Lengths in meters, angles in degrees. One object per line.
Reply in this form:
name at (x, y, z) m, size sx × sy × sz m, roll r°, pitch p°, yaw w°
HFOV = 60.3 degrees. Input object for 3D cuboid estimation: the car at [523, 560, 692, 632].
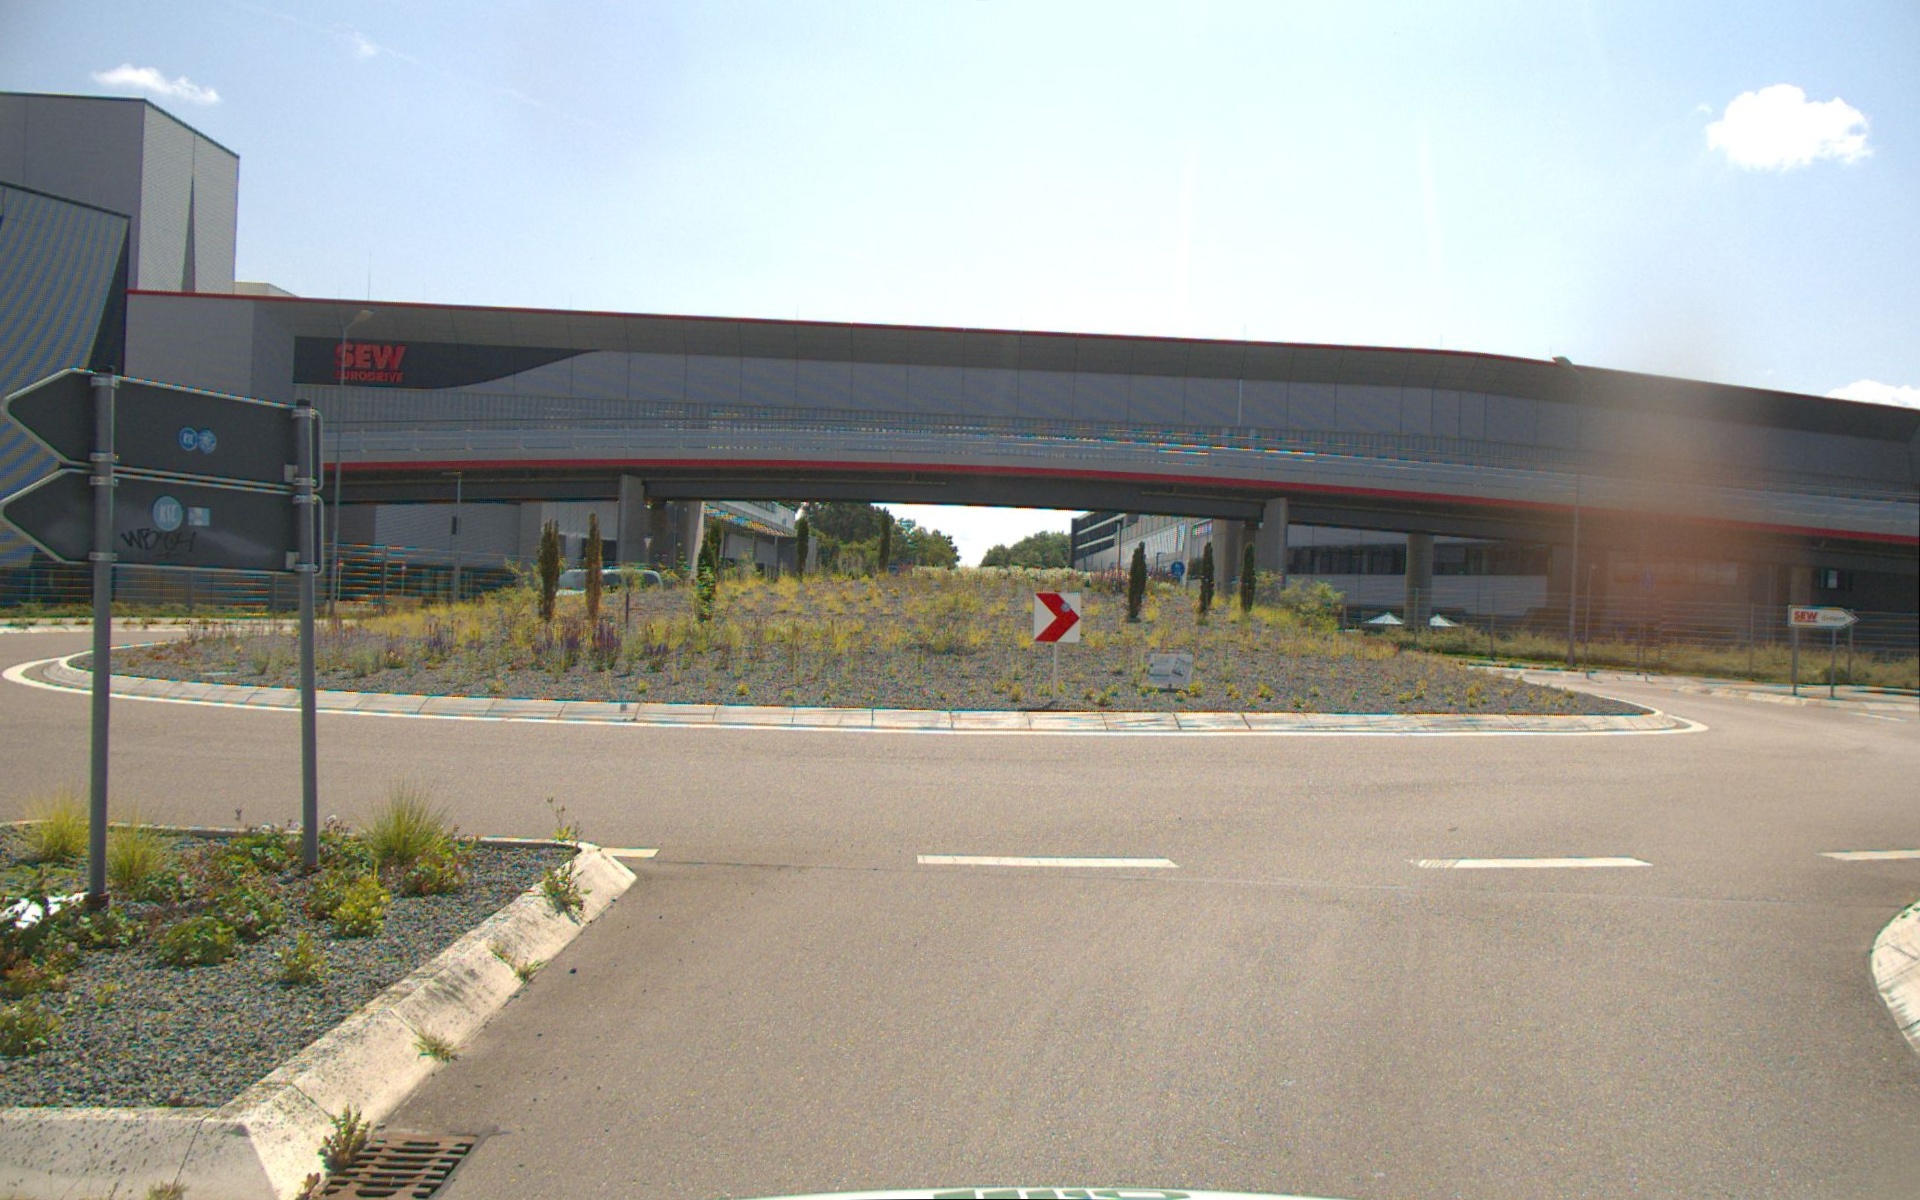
car at (-9.503, -0.086, 44.935) m, size 1.956 × 1.810 × 4.552 m, roll 2°, pitch 0°, yaw 29°
